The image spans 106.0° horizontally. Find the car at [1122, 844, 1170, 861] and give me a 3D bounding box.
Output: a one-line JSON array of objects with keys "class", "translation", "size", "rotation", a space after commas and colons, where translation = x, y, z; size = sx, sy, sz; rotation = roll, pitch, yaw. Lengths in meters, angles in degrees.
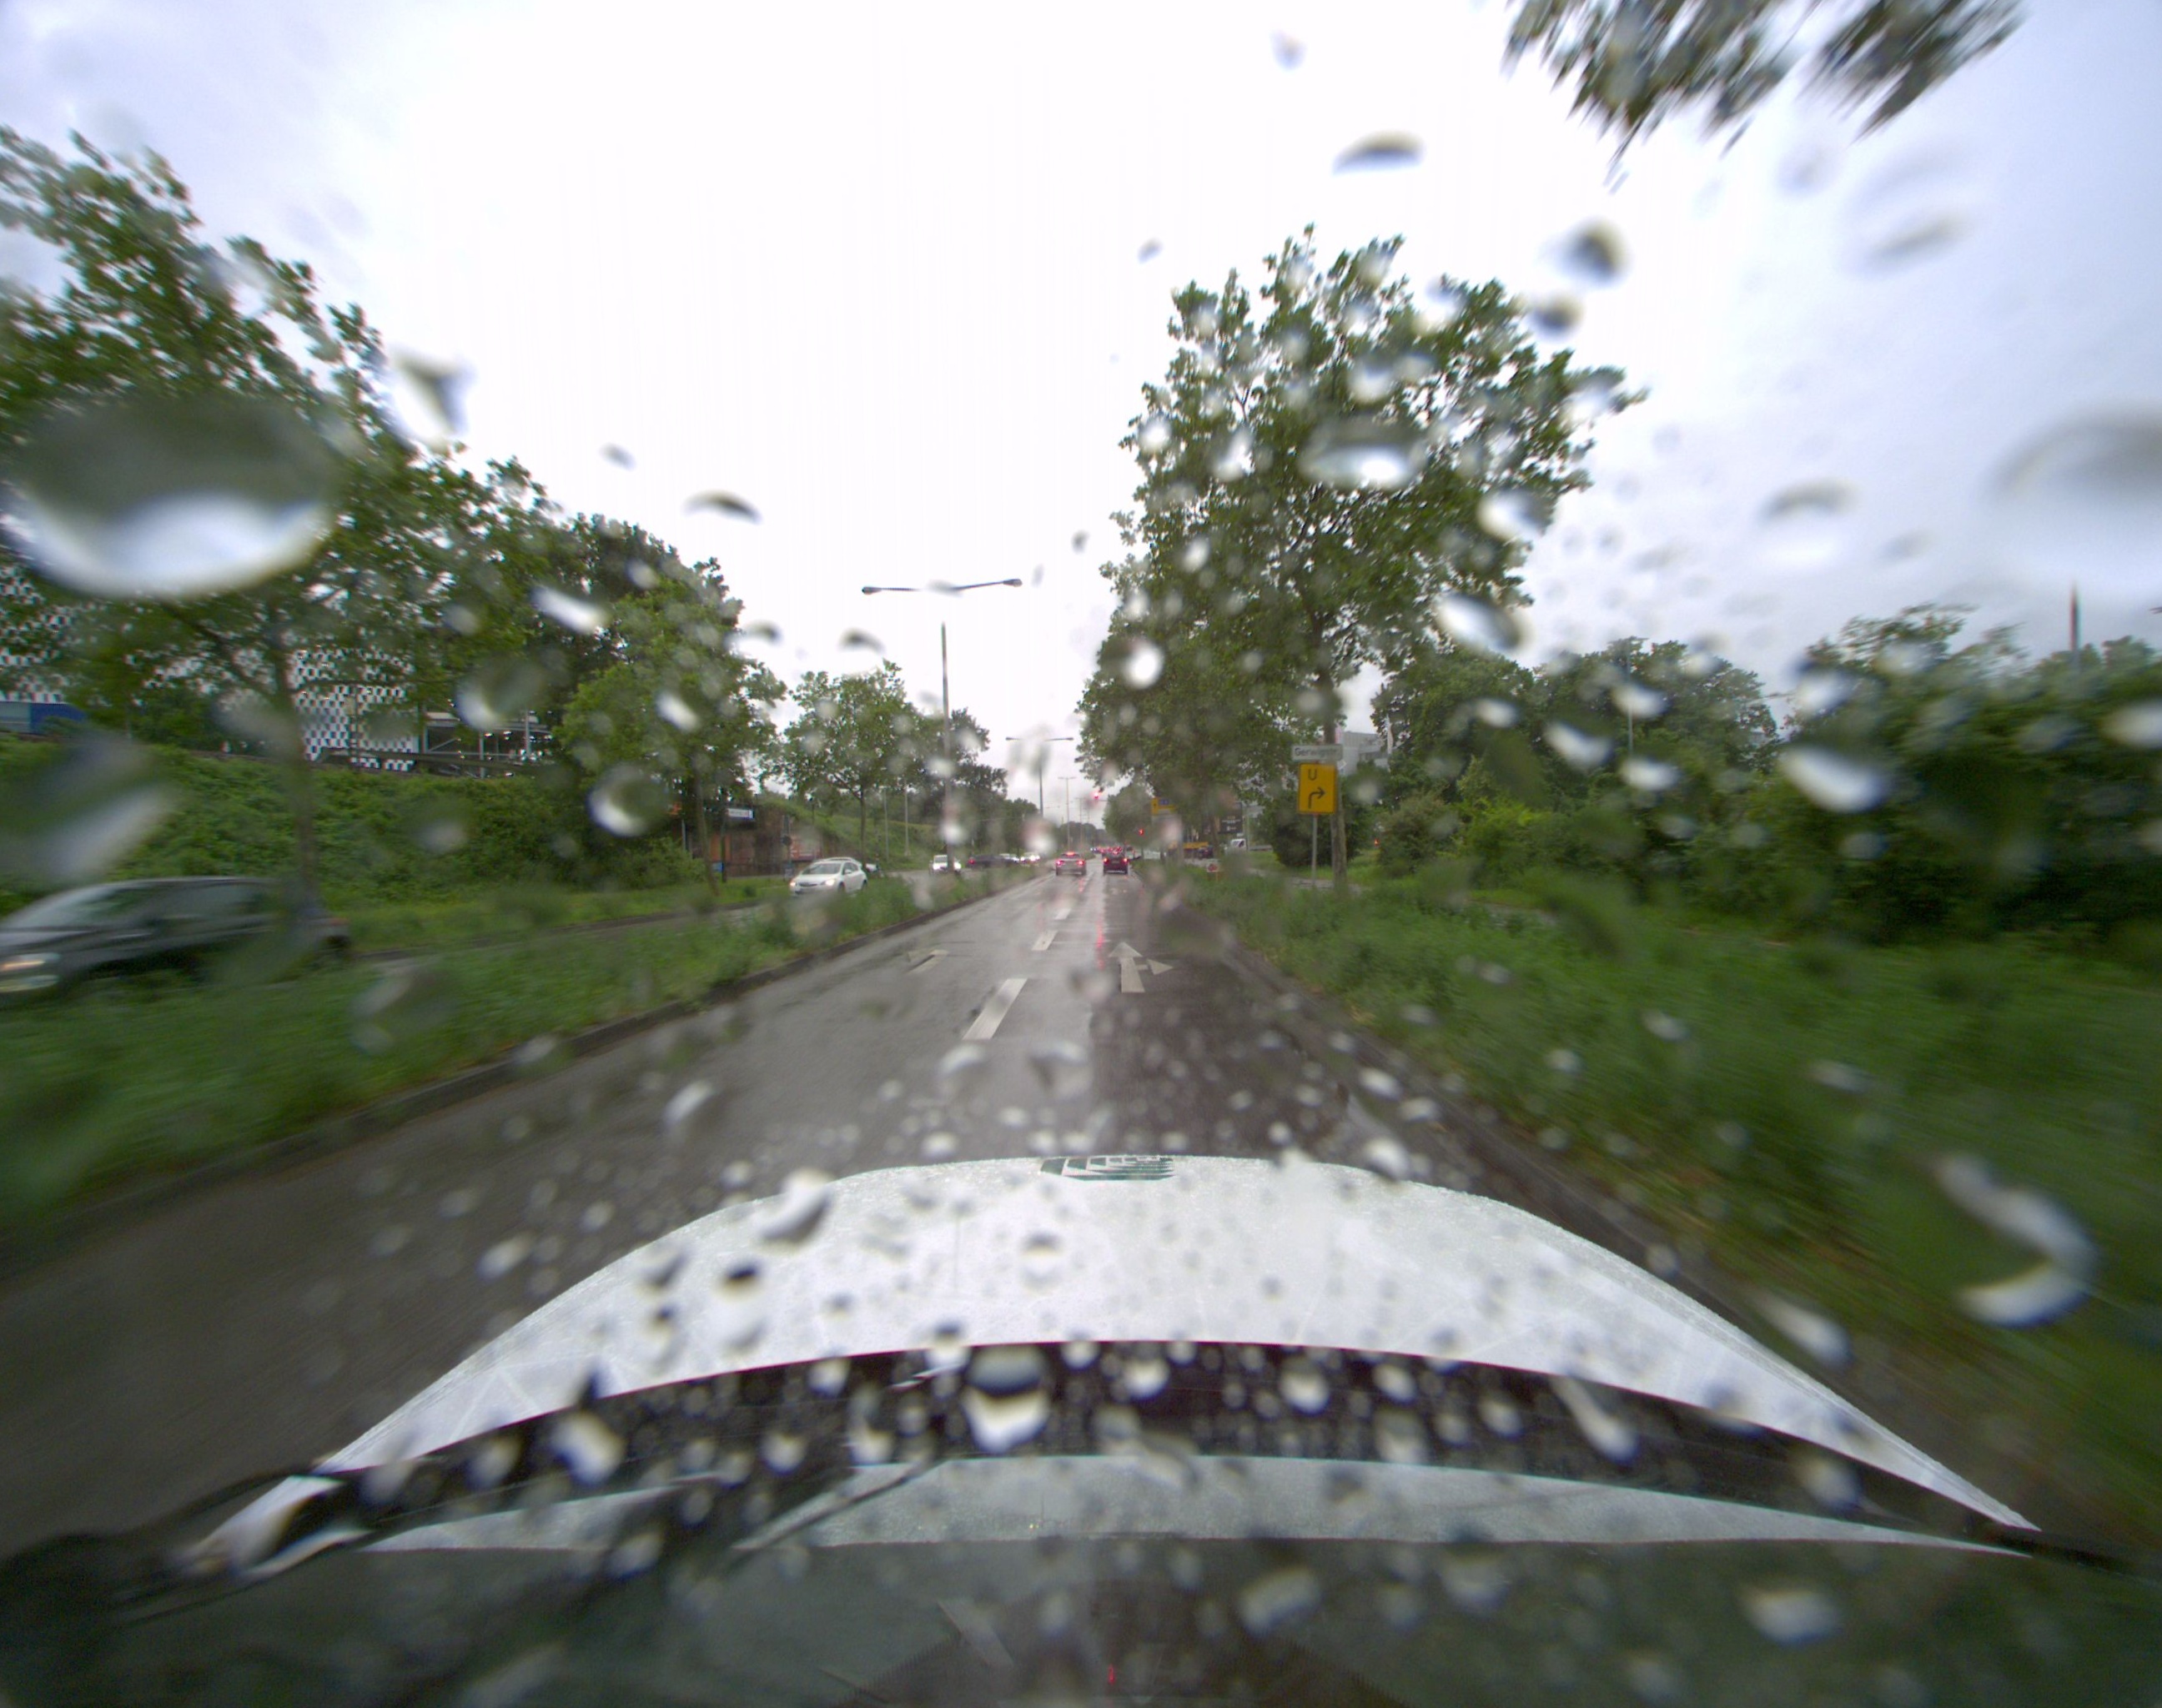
[{"class": "car", "translation": [6.360, -0.161, 79.551], "size": [4.397, 1.537, 1.786], "rotation": [-2, 0, -27]}]

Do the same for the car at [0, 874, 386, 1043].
[{"class": "car", "translation": [-10.560, 1.014, 9.328], "size": [1.923, 1.445, 3.709], "rotation": [-1, 0, 2]}]

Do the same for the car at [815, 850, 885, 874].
[{"class": "car", "translation": [-16.939, 0.563, 59.733], "size": [4.475, 1.589, 1.868], "rotation": [-2, 0, 10]}]

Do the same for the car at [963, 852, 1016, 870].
[{"class": "car", "translation": [-8.101, 0.598, 72.160], "size": [4.397, 1.537, 1.786], "rotation": [-1, 0, -27]}]

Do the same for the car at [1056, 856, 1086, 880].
[{"class": "car", "translation": [-0.611, 0.886, 52.552], "size": [1.683, 1.433, 4.577], "rotation": [-1, 0, 2]}]

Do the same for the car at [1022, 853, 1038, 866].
[{"class": "car", "translation": [-6.544, 0.688, 104.923], "size": [1.706, 1.530, 4.002], "rotation": [-2, 0, 2]}]

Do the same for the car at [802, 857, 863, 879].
[{"class": "car", "translation": [-20.062, 1.113, 65.750], "size": [4.397, 1.537, 1.786], "rotation": [-2, 0, -27]}]

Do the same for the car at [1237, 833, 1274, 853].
[{"class": "car", "translation": [21.699, -1.337, 101.412], "size": [4.404, 2.190, 1.783], "rotation": [-4, 1, -33]}]

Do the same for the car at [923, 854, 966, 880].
[{"class": "car", "translation": [-8.979, 0.819, 53.186], "size": [1.864, 1.589, 4.486], "rotation": [-2, 0, -21]}]

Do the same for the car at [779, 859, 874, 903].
[{"class": "car", "translation": [-9.388, 0.952, 30.496], "size": [1.923, 1.445, 4.659], "rotation": [-1, 0, 2]}]

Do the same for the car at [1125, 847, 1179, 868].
[{"class": "car", "translation": [5.990, 0.278, 68.662], "size": [4.409, 1.537, 1.782], "rotation": [-4, 3, -38]}]

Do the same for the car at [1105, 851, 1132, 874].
[{"class": "car", "translation": [2.569, 0.550, 56.584], "size": [1.789, 1.537, 4.389], "rotation": [0, 0, 2]}]

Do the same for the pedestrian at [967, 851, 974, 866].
[{"class": "pedestrian", "translation": [-12.832, 0.553, 94.737], "size": [0.528, 1.786, 0.676], "rotation": [0, -1, 20]}]

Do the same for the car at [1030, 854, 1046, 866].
[{"class": "car", "translation": [-5.879, 0.821, 112.012], "size": [1.706, 1.530, 4.002], "rotation": [-2, 0, 2]}]

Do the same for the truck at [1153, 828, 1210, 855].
[{"class": "truck", "translation": [12.447, -1.571, 100.454], "size": [7.078, 3.054, 2.618], "rotation": [-2, 0, -35]}]
